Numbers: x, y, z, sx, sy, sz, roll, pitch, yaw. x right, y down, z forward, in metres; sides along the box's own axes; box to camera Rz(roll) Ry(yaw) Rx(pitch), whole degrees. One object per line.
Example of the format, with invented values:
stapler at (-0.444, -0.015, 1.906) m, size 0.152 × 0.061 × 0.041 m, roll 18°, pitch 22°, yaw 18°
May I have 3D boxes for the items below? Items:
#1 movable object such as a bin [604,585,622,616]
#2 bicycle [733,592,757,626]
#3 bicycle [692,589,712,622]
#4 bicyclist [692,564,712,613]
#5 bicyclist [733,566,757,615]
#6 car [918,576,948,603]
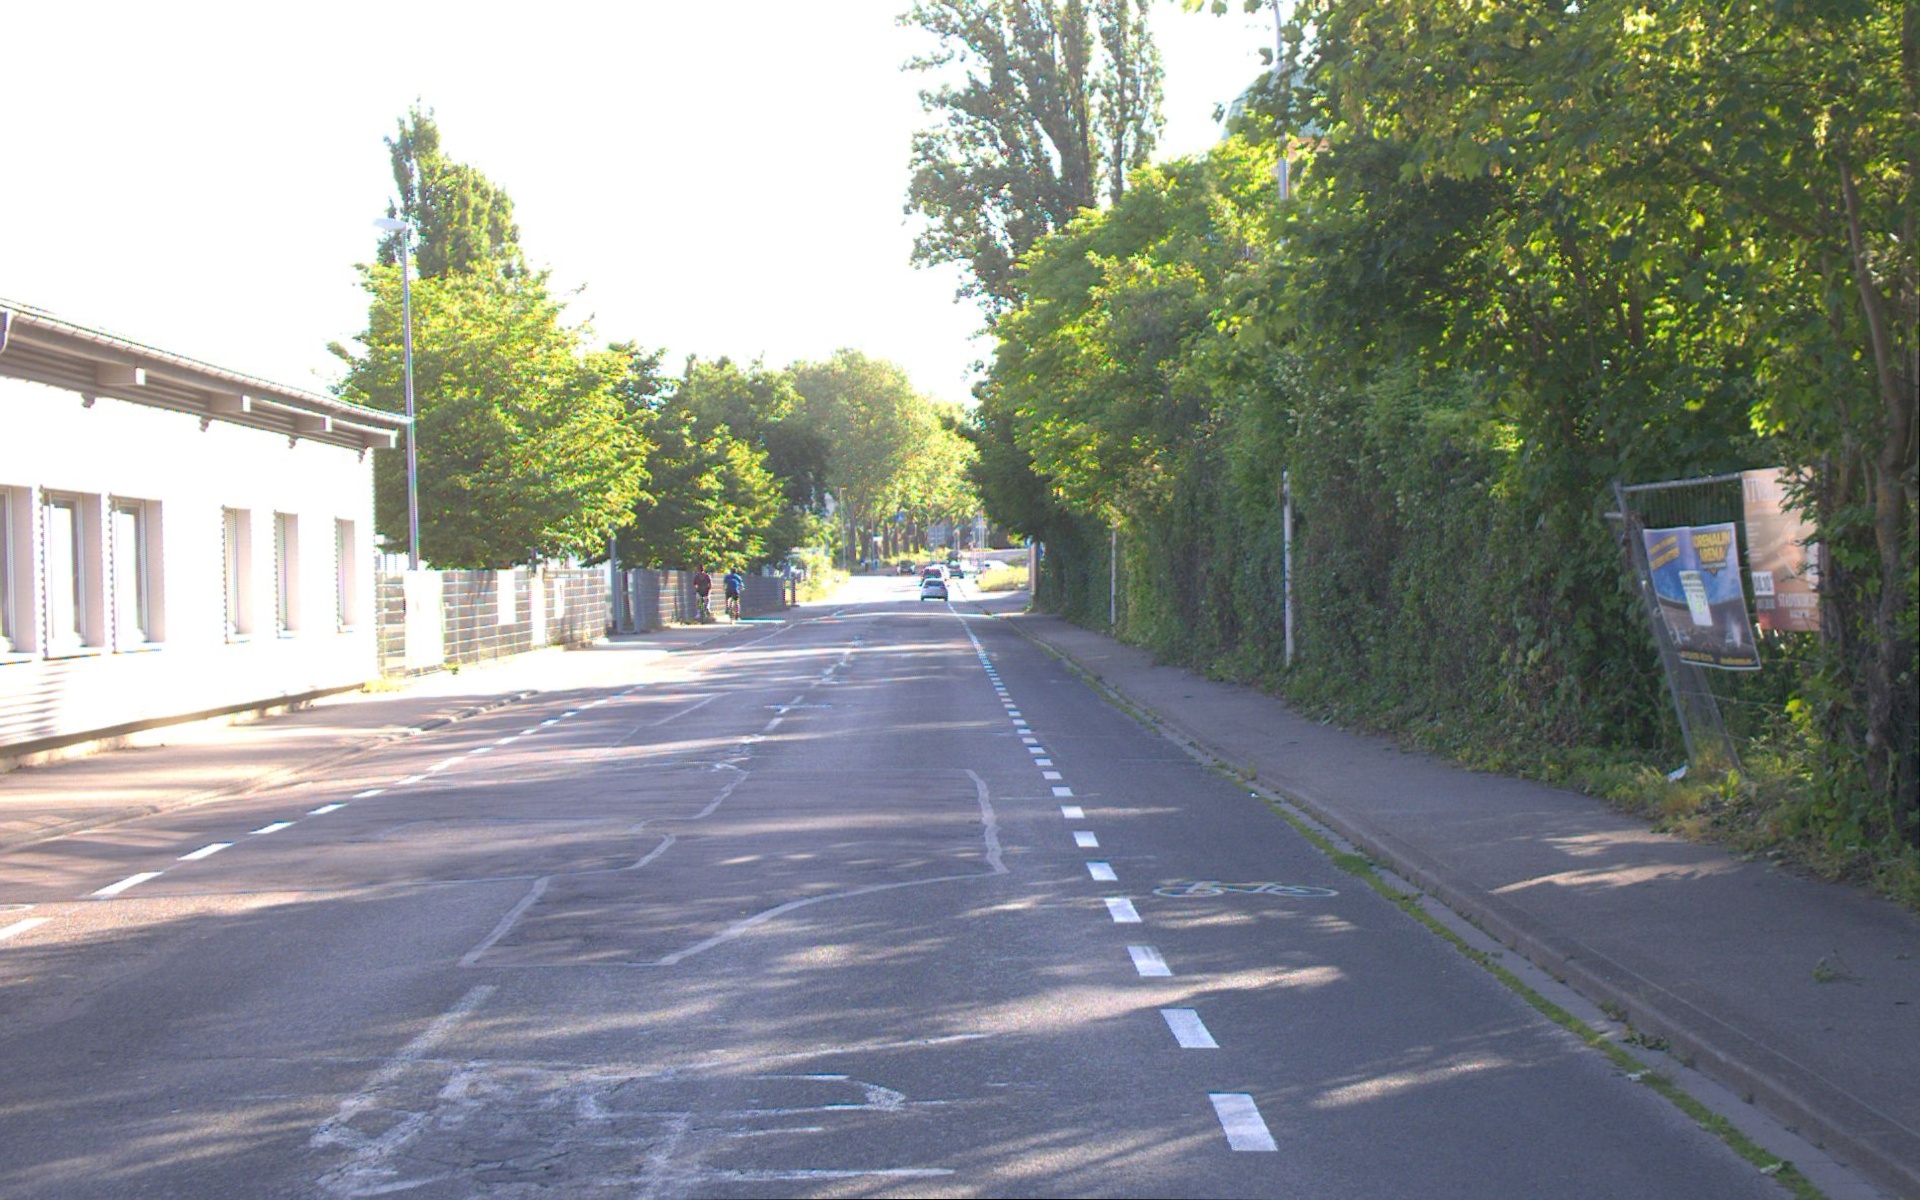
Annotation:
movable object such as a bin at (-11.955, 0.014, 118.547) m, size 0.463 × 1.072 × 1.570 m, roll -1°, pitch 1°, yaw 0°
bicycle at (-6.770, 0.284, 108.281) m, size 0.689 × 1.030 × 1.351 m, roll 0°, pitch 1°, yaw 0°
bicycle at (-8.154, 0.175, 108.684) m, size 0.563 × 1.030 × 1.351 m, roll 0°, pitch 1°, yaw 0°
bicyclist at (-8.143, -0.362, 108.600) m, size 0.560 × 1.528 × 0.689 m, roll 0°, pitch 1°, yaw 0°
bicyclist at (-6.763, -0.300, 108.232) m, size 0.689 × 1.527 × 0.722 m, roll 0°, pitch 1°, yaw 0°
car at (-1.735, -0.677, 221.154) m, size 1.942 × 1.645 × 4.310 m, roll 0°, pitch 1°, yaw 0°
